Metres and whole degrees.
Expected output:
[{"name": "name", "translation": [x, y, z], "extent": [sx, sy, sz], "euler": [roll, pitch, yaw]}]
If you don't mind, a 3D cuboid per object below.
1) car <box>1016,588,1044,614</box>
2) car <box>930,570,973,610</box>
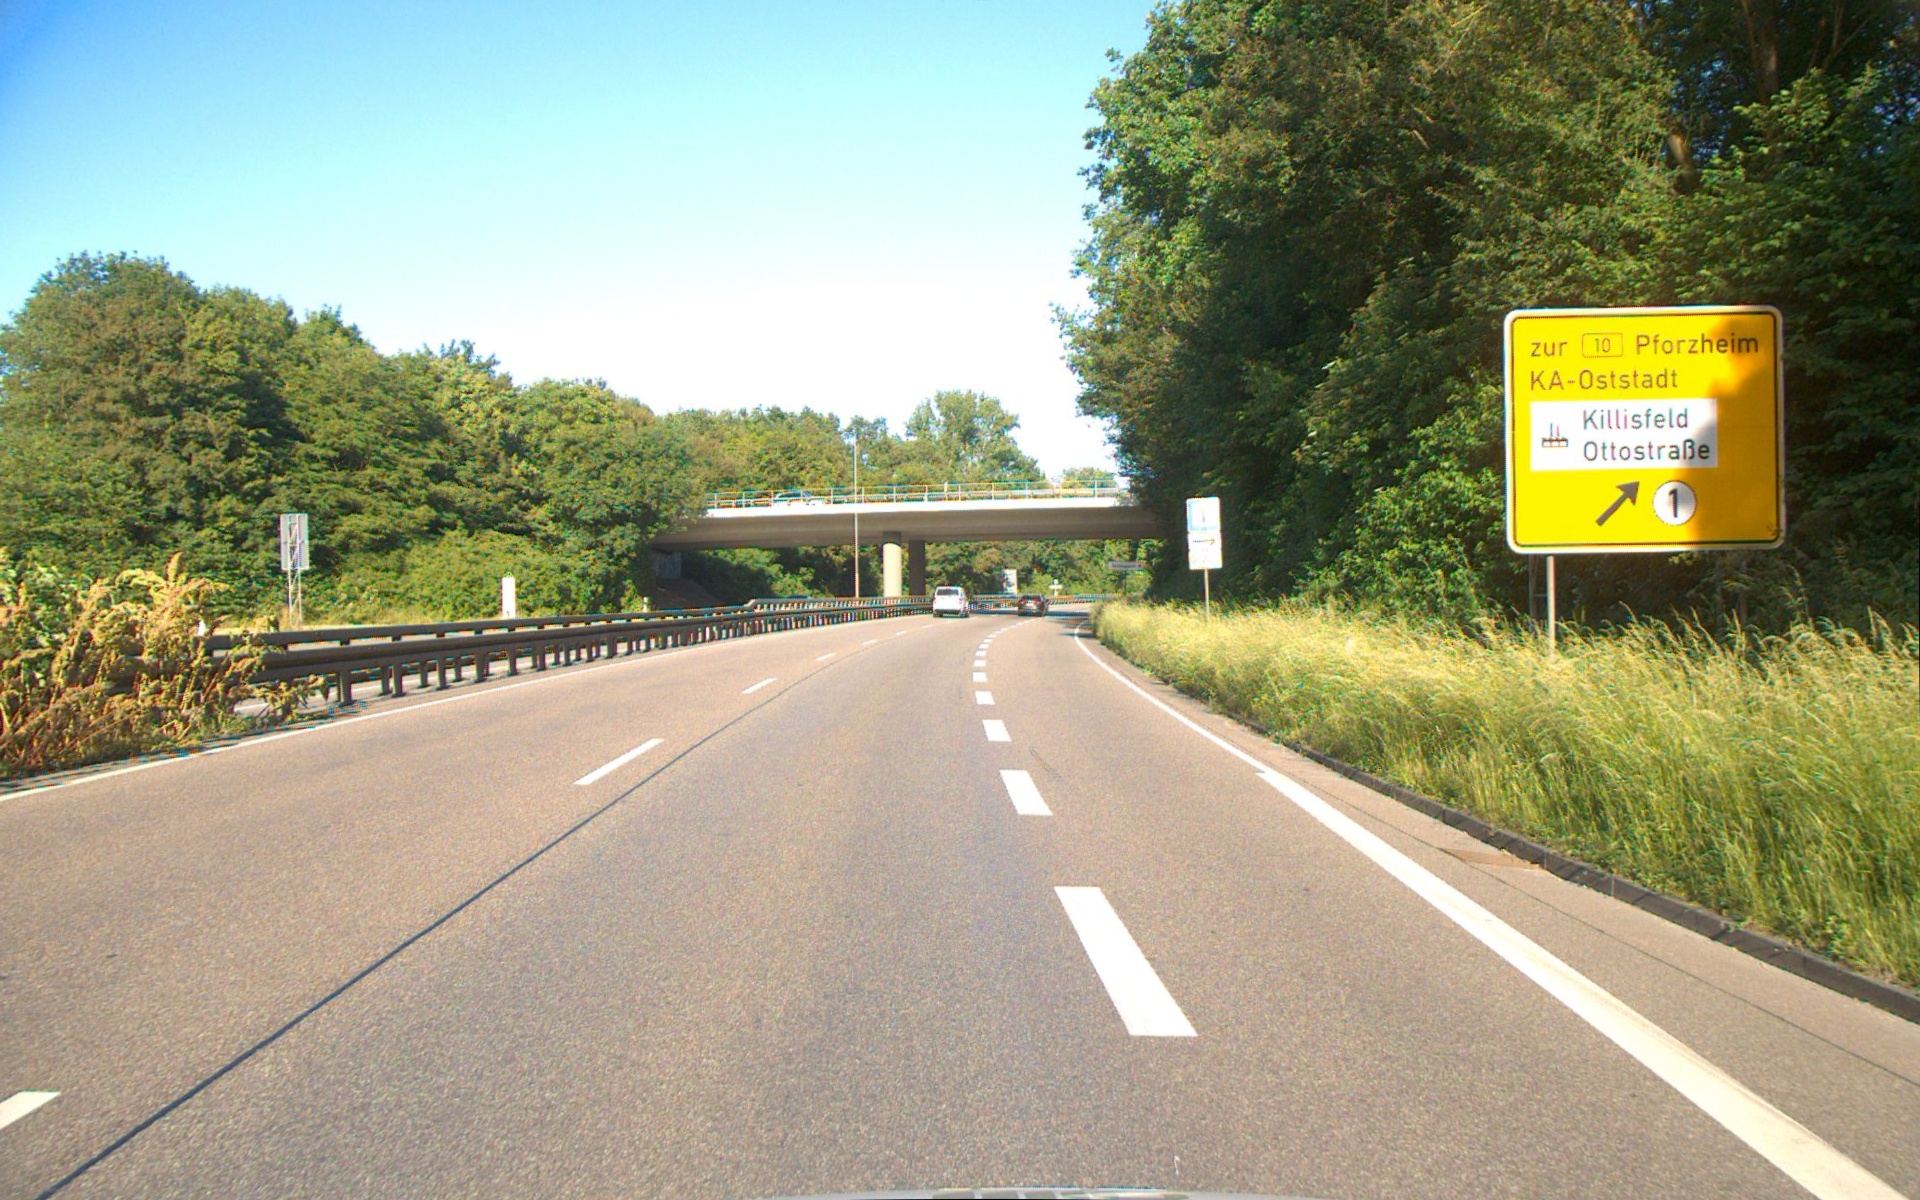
[{"name": "car", "translation": [4.684, 0.065, 110.216], "extent": [1.702, 1.691, 3.948], "euler": [0, 0, 5]}, {"name": "car", "translation": [-0.469, -0.567, 97.351], "extent": [1.951, 2.317, 4.003], "euler": [0, 0, 8]}]
